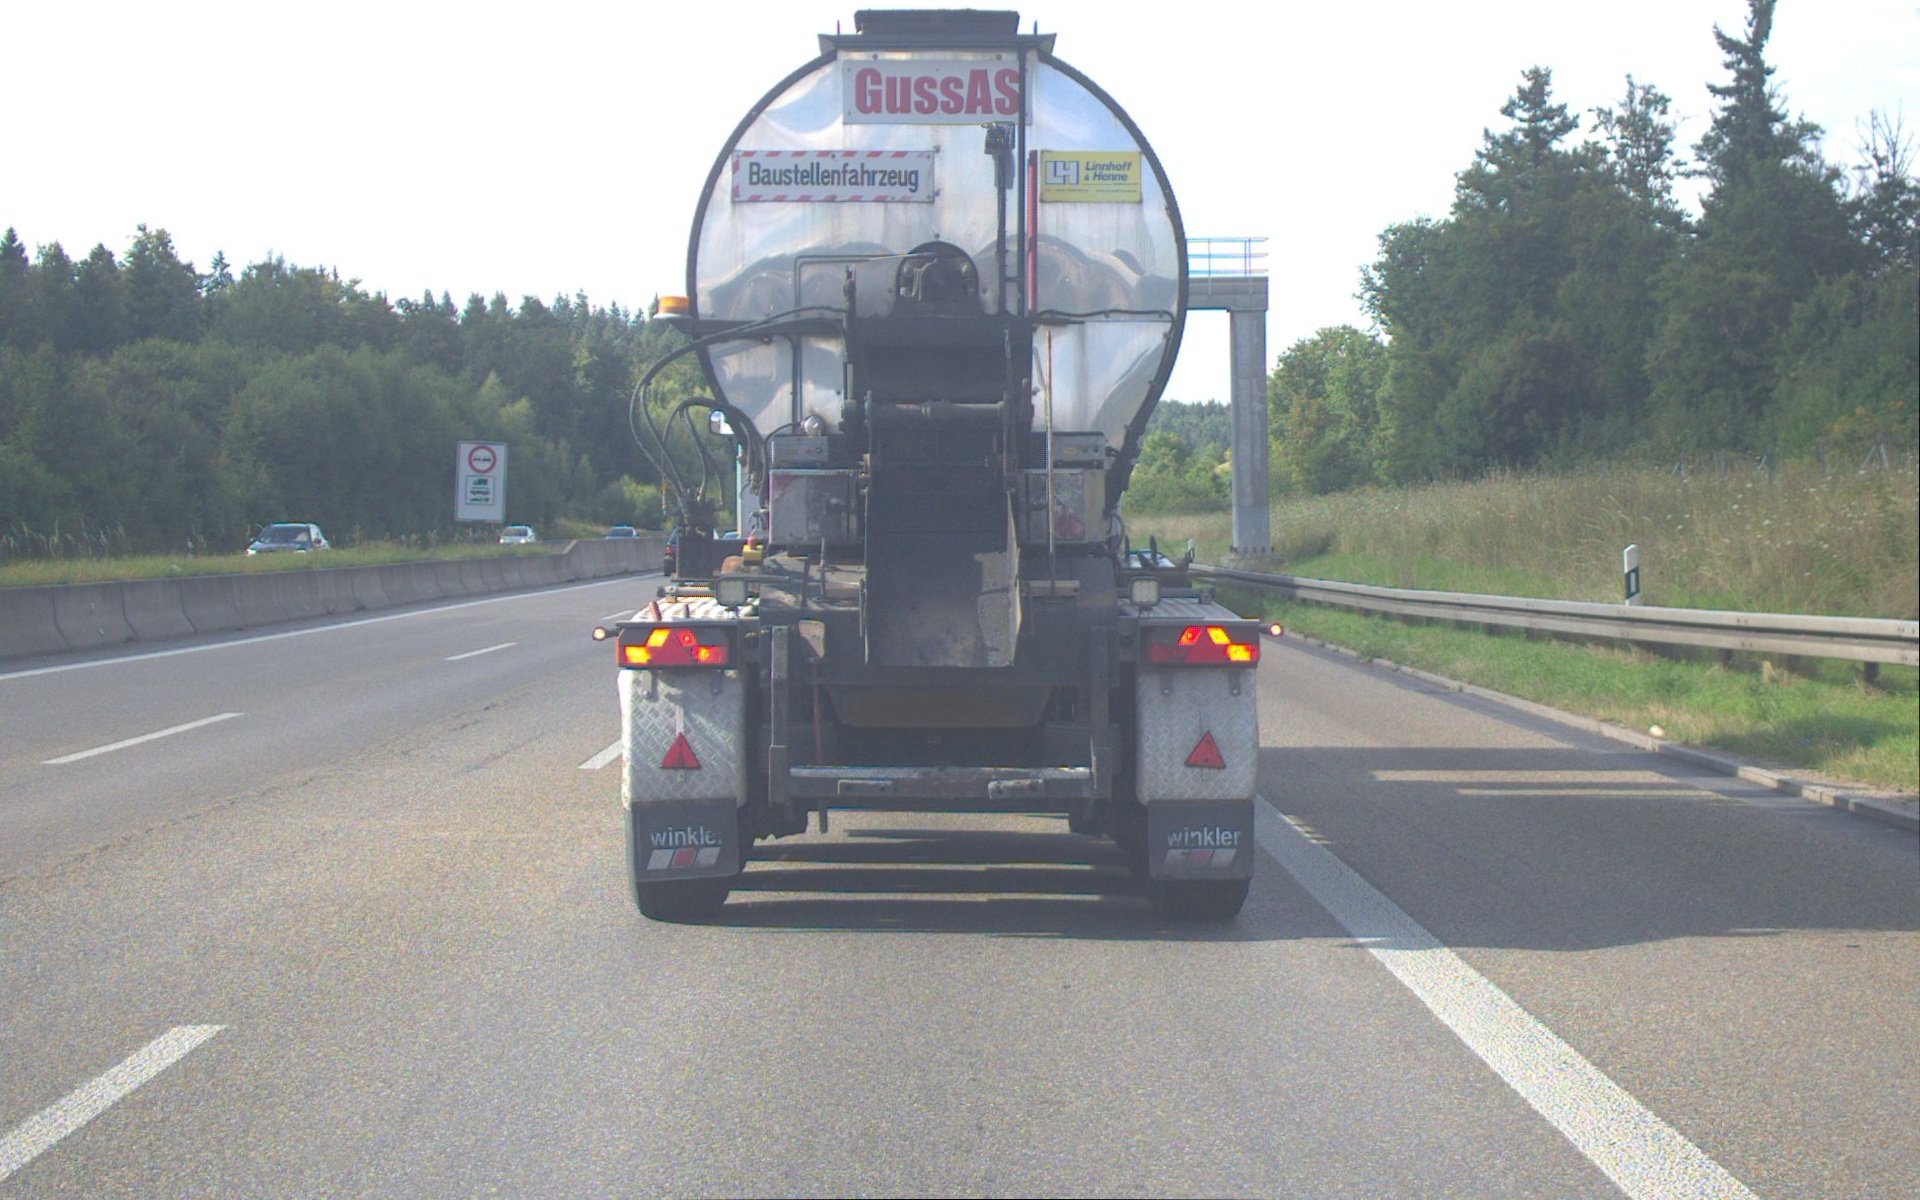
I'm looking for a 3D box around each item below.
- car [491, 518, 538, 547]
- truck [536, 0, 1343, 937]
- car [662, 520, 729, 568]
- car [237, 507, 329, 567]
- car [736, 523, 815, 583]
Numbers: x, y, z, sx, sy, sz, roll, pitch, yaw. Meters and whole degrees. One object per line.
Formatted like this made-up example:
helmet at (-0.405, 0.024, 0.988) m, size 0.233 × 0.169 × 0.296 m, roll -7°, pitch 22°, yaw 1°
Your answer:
car at (-23.913, -3.645, 184.652) m, size 1.950 × 1.534 × 4.327 m, roll 0°, pitch 1°, yaw 0°
truck at (-0.096, -0.977, 18.093) m, size 2.912 × 4.143 × 11.270 m, roll 0°, pitch 1°, yaw 0°
car at (-8.420, -1.792, 109.679) m, size 1.835 × 1.512 × 4.333 m, roll 0°, pitch 1°, yaw 0°
car at (-19.732, -1.855, 100.277) m, size 1.906 × 1.711 × 4.000 m, roll 0°, pitch 1°, yaw 0°
car at (-4.718, -1.228, 88.600) m, size 1.835 × 1.512 × 4.333 m, roll 0°, pitch 1°, yaw 0°
